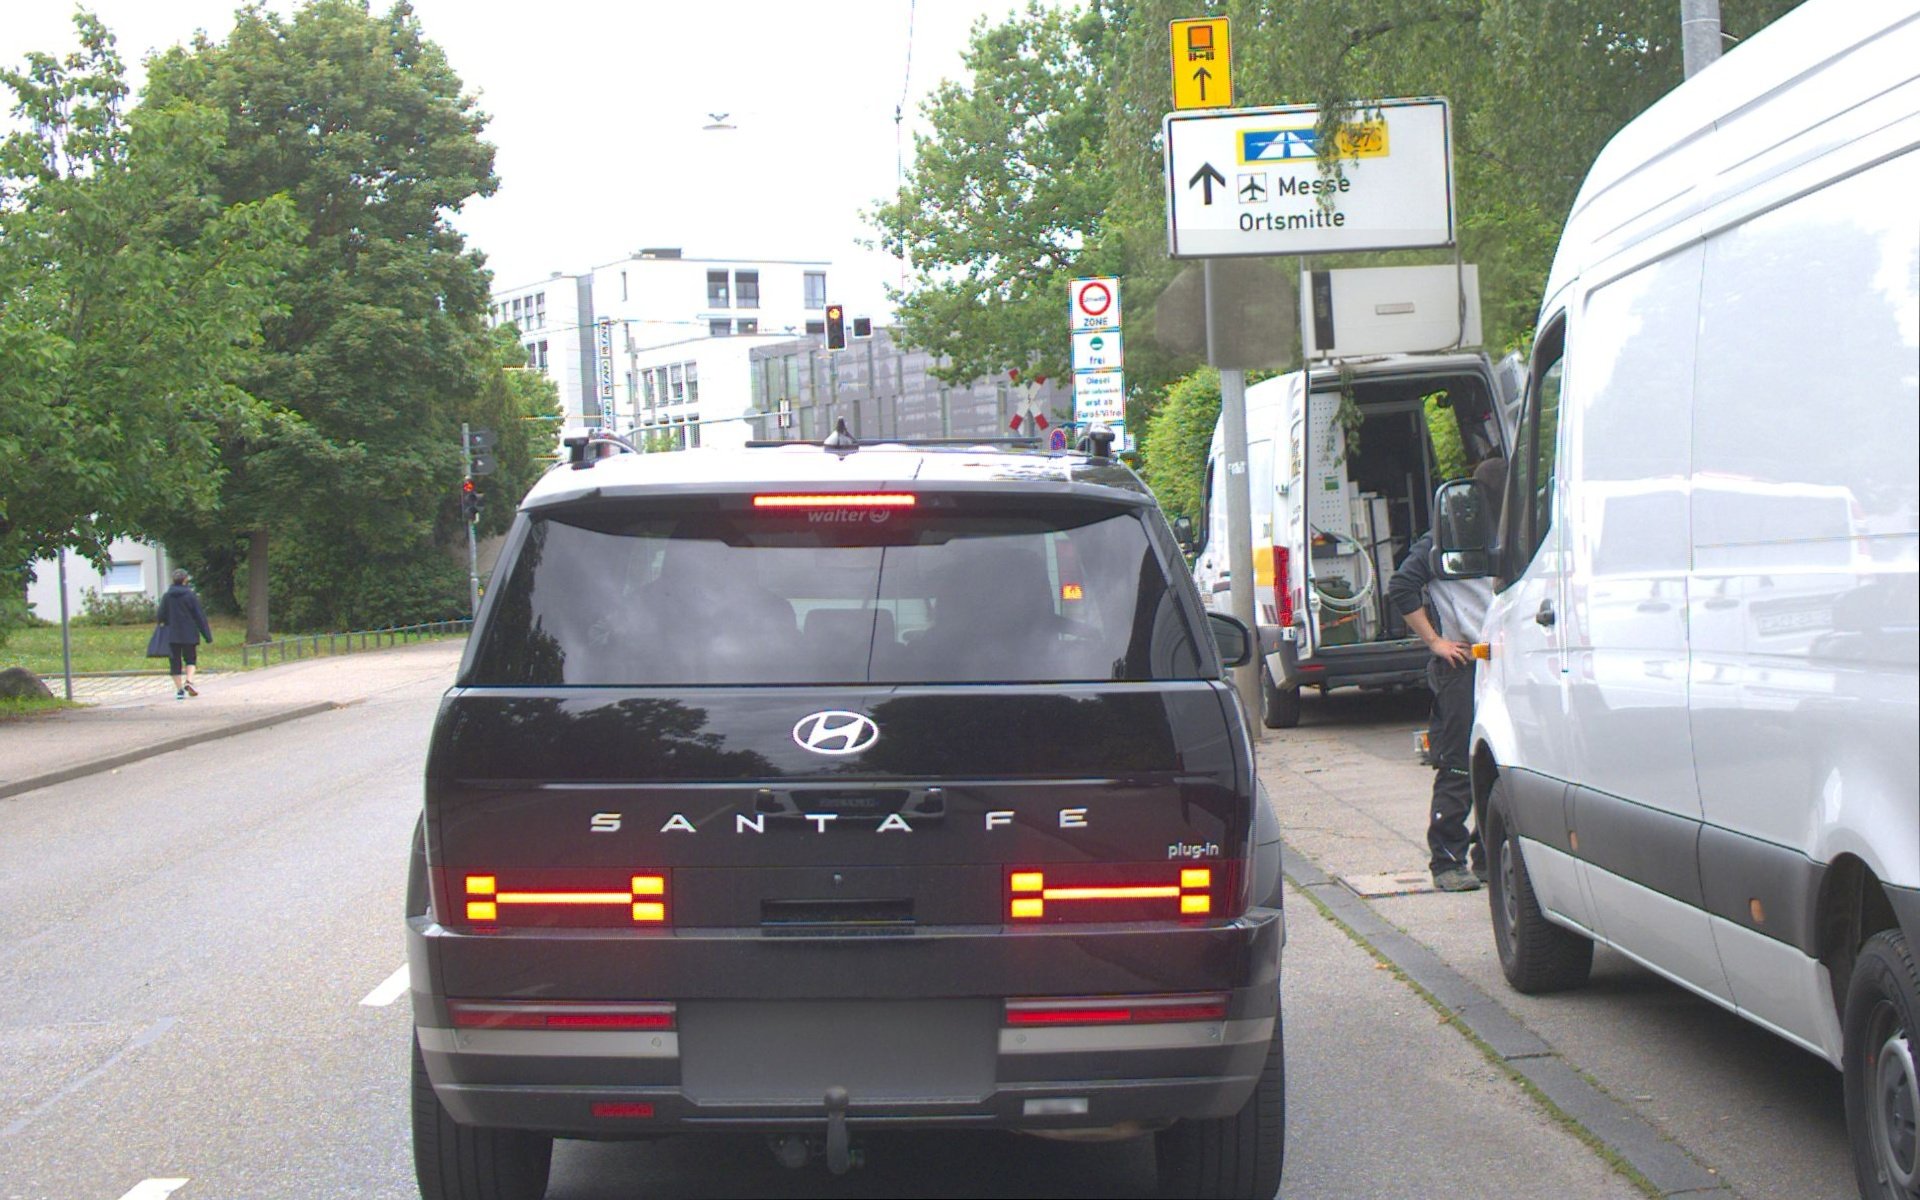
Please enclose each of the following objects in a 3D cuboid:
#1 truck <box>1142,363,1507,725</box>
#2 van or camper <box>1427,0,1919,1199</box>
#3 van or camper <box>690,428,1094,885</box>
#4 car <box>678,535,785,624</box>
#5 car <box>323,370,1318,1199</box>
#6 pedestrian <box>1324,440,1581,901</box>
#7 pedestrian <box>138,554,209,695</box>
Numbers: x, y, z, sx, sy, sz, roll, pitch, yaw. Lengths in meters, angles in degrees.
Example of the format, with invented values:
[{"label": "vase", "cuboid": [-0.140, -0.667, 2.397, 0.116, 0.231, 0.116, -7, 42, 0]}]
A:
[{"label": "truck", "cuboid": [2.831, -0.438, 27.964, 1.942, 2.553, 5.217, -4, 1, -4]}, {"label": "van or camper", "cuboid": [2.623, -0.084, 8.147, 1.993, 2.611, 6.541, -2, 1, -1]}, {"label": "van or camper", "cuboid": [-0.328, 0.221, 17.502, 1.754, 2.007, 4.000, -2, 1, -1]}, {"label": "car", "cuboid": [-4.712, -0.448, 71.365, 1.859, 1.651, 4.306, -4, 1, -1]}, {"label": "car", "cuboid": [-0.286, 0.439, 8.559, 1.889, 1.813, 4.000, 0, 1, -1]}, {"label": "pedestrian", "cuboid": [1.984, 0.272, 13.951, 0.870, 1.791, 0.760, -2, 1, -1]}, {"label": "pedestrian", "cuboid": [-9.809, 0.296, 42.892, 0.738, 1.709, 0.793, -2, 1, -7]}]
